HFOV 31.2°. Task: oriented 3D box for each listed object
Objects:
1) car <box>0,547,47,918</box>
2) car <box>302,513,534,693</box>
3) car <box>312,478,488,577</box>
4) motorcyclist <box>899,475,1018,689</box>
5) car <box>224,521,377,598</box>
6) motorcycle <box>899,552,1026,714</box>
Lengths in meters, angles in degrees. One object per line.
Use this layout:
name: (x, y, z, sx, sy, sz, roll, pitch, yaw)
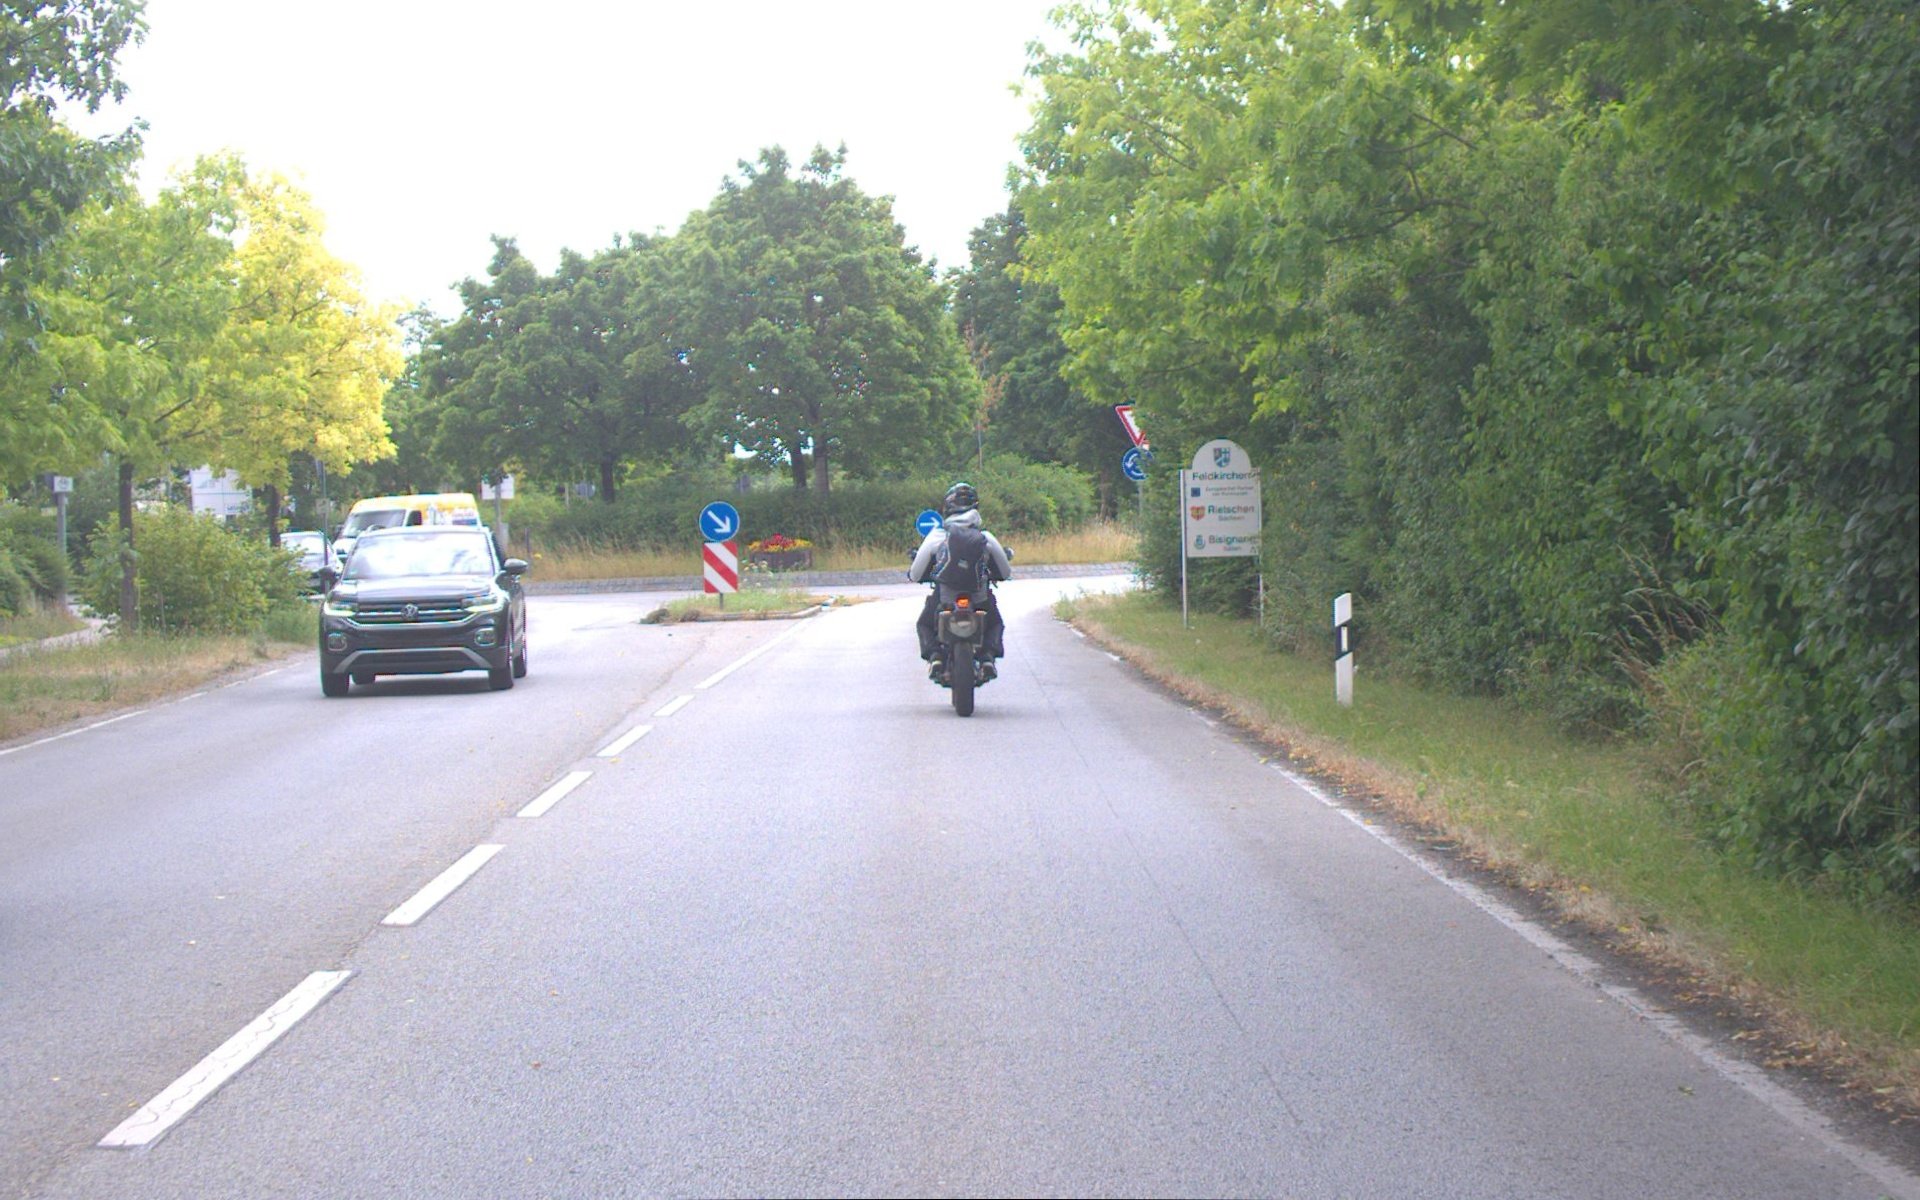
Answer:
car: (-4.517, 0.589, 11.749, 1.676, 1.406, 4.013, -3, 2, 0)
car: (-5.097, -0.022, 32.777, 1.733, 1.529, 4.096, -3, 1, -3)
car: (-14.742, -1.943, 90.823, 2.164, 2.443, 5.437, -1, 2, 20)
motorcyclist: (-0.022, -0.148, 26.857, 0.861, 1.618, 1.191, -1, 1, -1)
car: (-14.967, -0.897, 77.880, 1.738, 1.580, 4.355, -4, 2, -34)
motorcycle: (-0.005, 0.226, 26.809, 0.896, 1.154, 2.621, -1, 1, -1)
